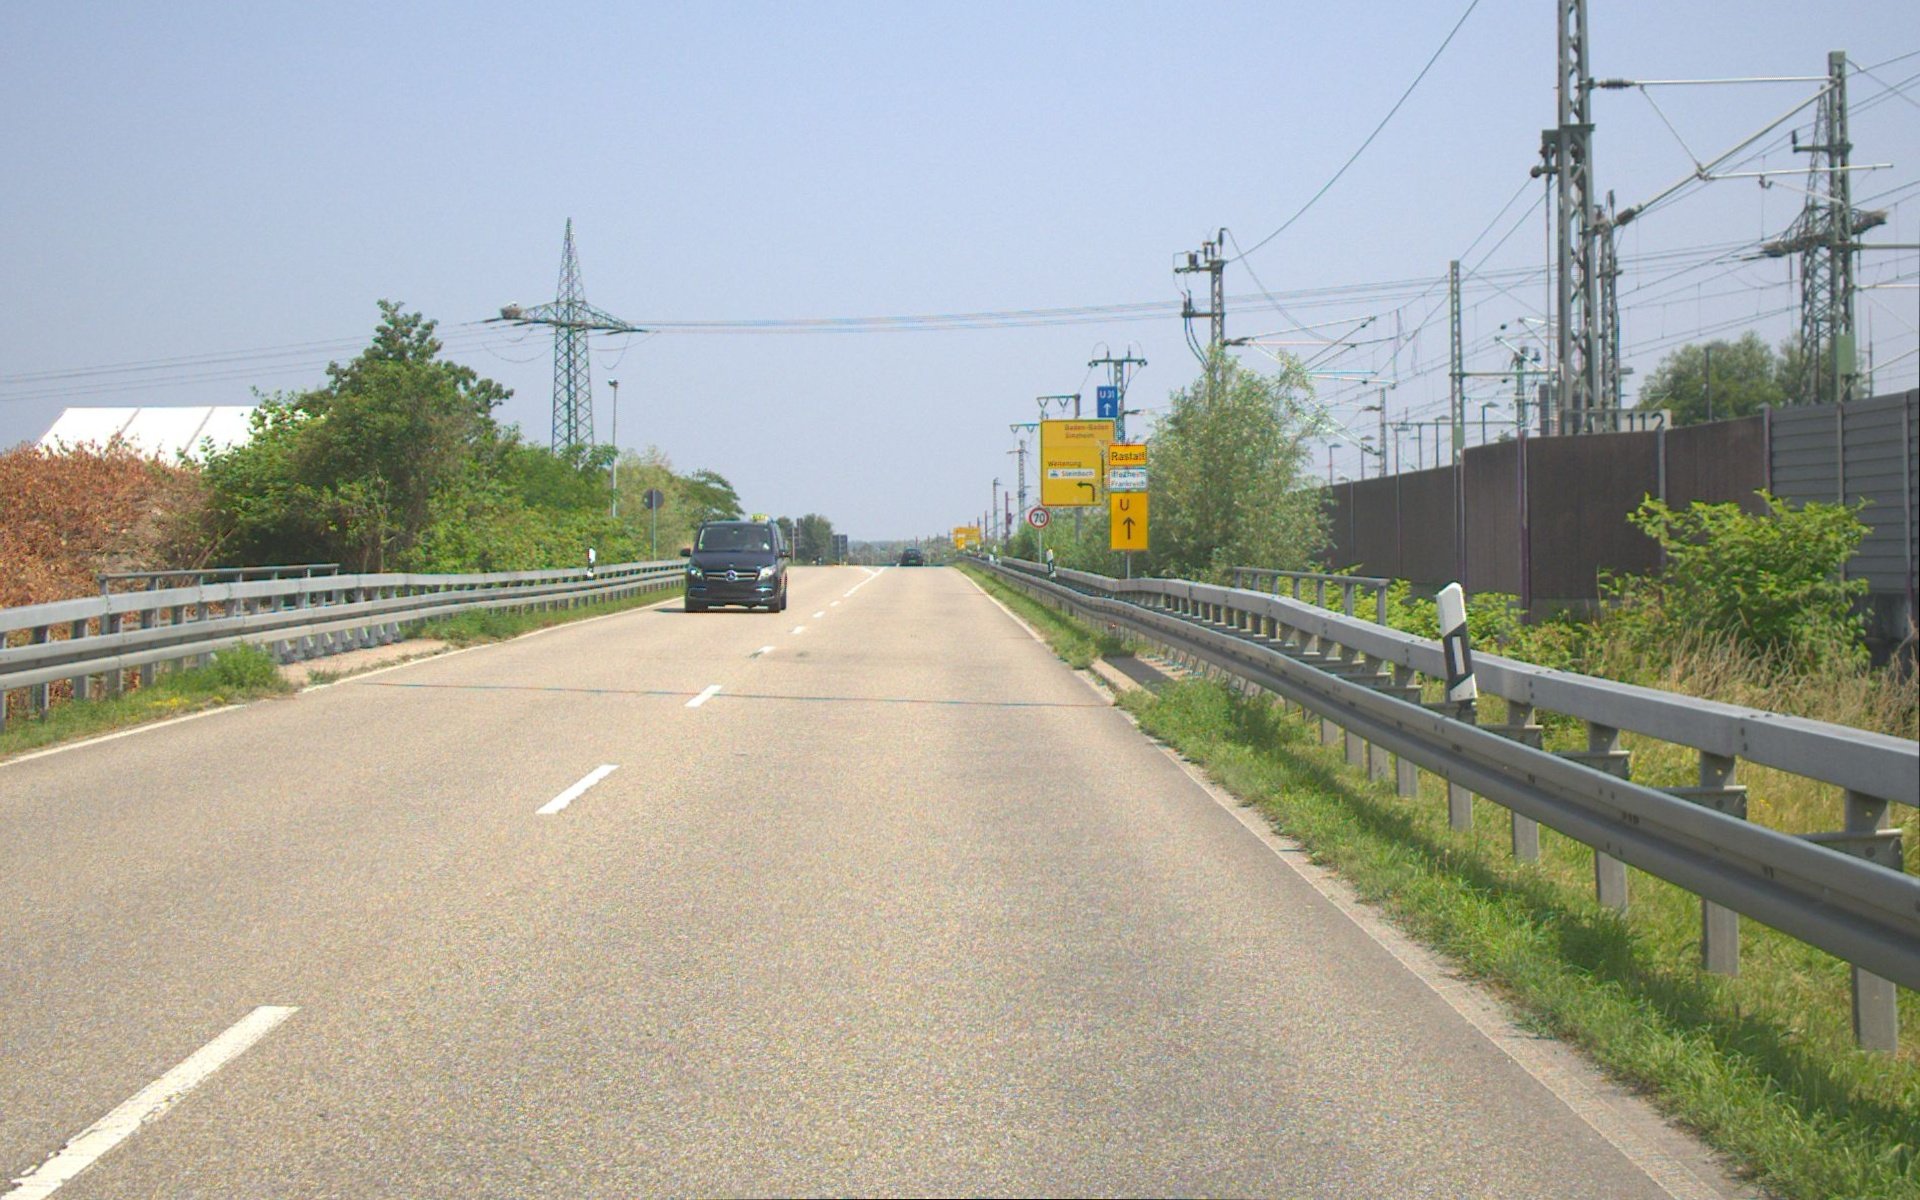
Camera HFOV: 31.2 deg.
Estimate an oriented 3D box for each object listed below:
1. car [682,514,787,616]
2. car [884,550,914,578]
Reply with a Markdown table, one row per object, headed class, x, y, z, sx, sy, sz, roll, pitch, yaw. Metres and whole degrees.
| class | x | y | z | sx | sy | sz | roll | pitch | yaw |
| --- | --- | --- | --- | --- | --- | --- | --- | --- | --- |
| car | -4.609 | -0.740 | 70.928 | 1.893 | 2.007 | 5.370 | 1 | 1 | -1 |
| car | -4.567 | -2.708 | 258.212 | 1.993 | 2.007 | 4.001 | 0 | 1 | -4 |
